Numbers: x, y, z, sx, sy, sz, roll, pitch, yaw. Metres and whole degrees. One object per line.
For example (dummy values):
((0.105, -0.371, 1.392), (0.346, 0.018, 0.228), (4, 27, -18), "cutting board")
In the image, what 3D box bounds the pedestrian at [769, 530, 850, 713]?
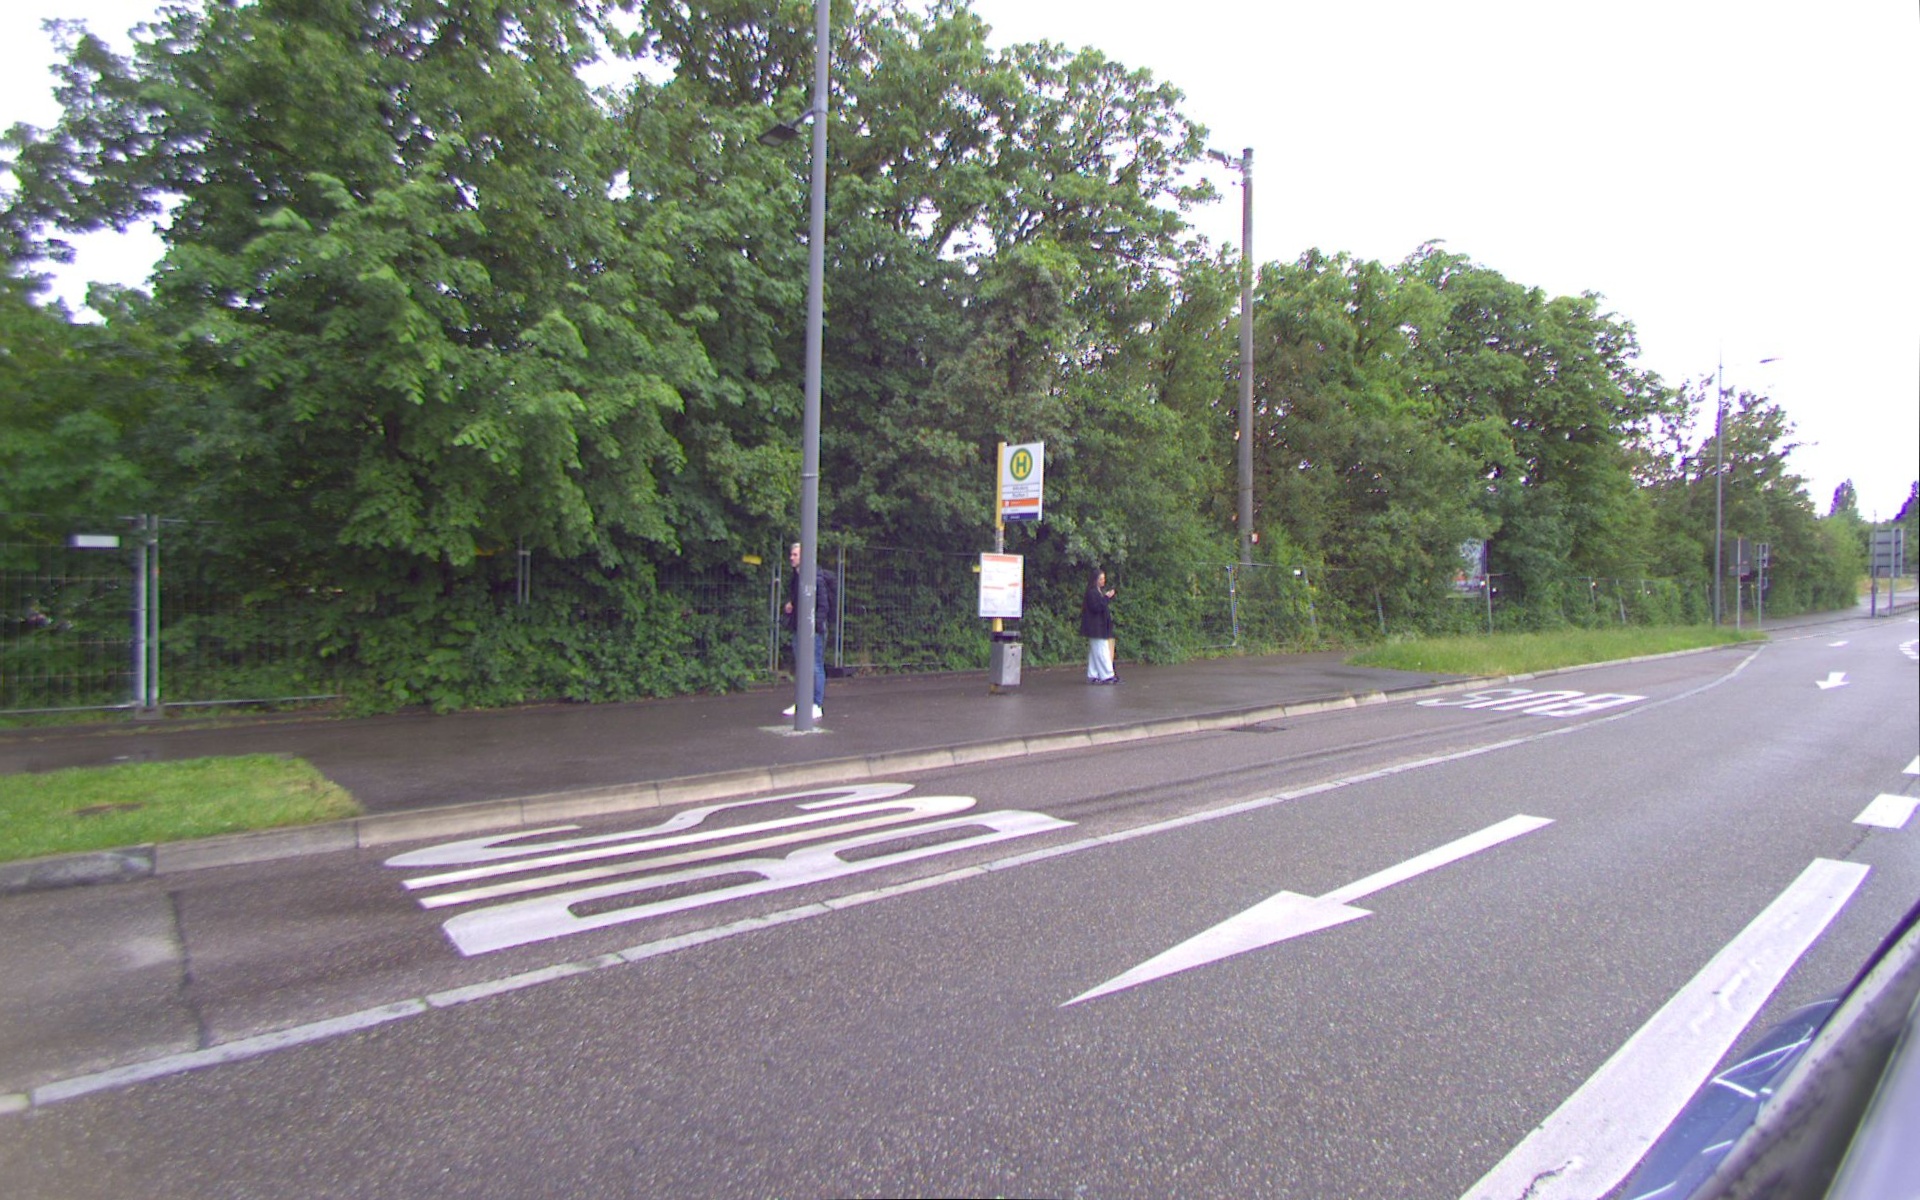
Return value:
((-1.702, 0.222, 11.390), (0.587, 1.973, 0.742), (0, 1, -40), "pedestrian")

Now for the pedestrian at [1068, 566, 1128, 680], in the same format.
((2.075, 0.327, 15.192), (0.650, 1.648, 0.588), (0, 1, -40), "pedestrian")
